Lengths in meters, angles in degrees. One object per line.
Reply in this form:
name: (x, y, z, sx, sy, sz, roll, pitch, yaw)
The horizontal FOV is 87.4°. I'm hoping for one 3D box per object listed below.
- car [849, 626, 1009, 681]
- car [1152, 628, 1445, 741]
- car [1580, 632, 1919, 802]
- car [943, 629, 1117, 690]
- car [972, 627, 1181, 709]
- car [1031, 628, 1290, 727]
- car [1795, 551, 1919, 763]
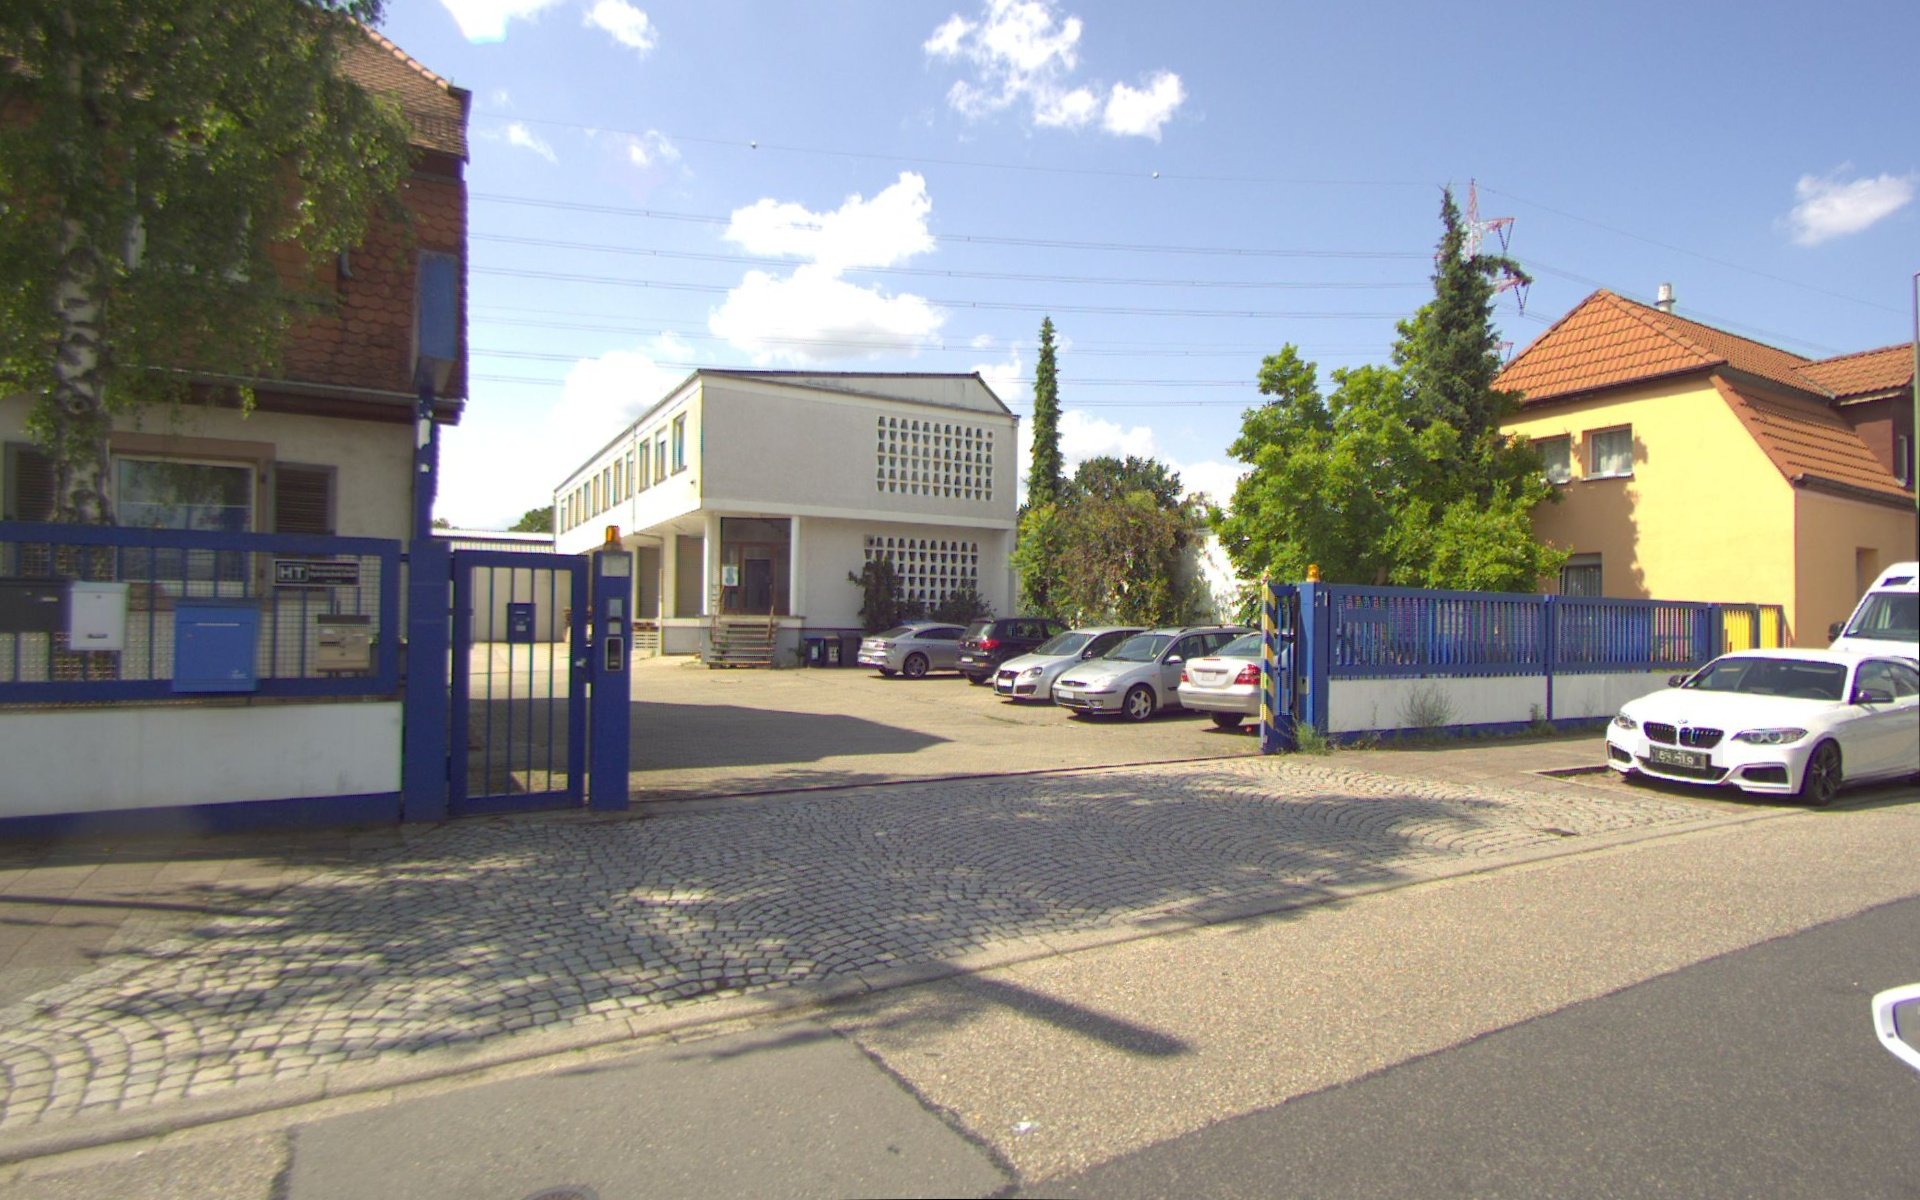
car: (-0.822, 1.432, 27.290, 3.953, 1.331, 1.837, 2, 0, -30)
car: (5.081, 1.199, 15.033, 4.090, 1.482, 1.859, 1, -3, -28)
car: (8.766, 1.110, 10.635, 4.447, 1.416, 1.788, 2, 0, -29)
car: (1.745, 1.453, 24.936, 3.953, 1.335, 1.837, 2, 0, -30)
car: (2.398, 1.320, 20.564, 3.953, 1.509, 1.837, 1, -1, -30)
car: (3.517, 1.265, 17.556, 4.254, 1.487, 1.793, 0, -1, -27)
car: (14.578, 0.791, 14.299, 6.762, 2.595, 2.016, 2, 0, -31)
